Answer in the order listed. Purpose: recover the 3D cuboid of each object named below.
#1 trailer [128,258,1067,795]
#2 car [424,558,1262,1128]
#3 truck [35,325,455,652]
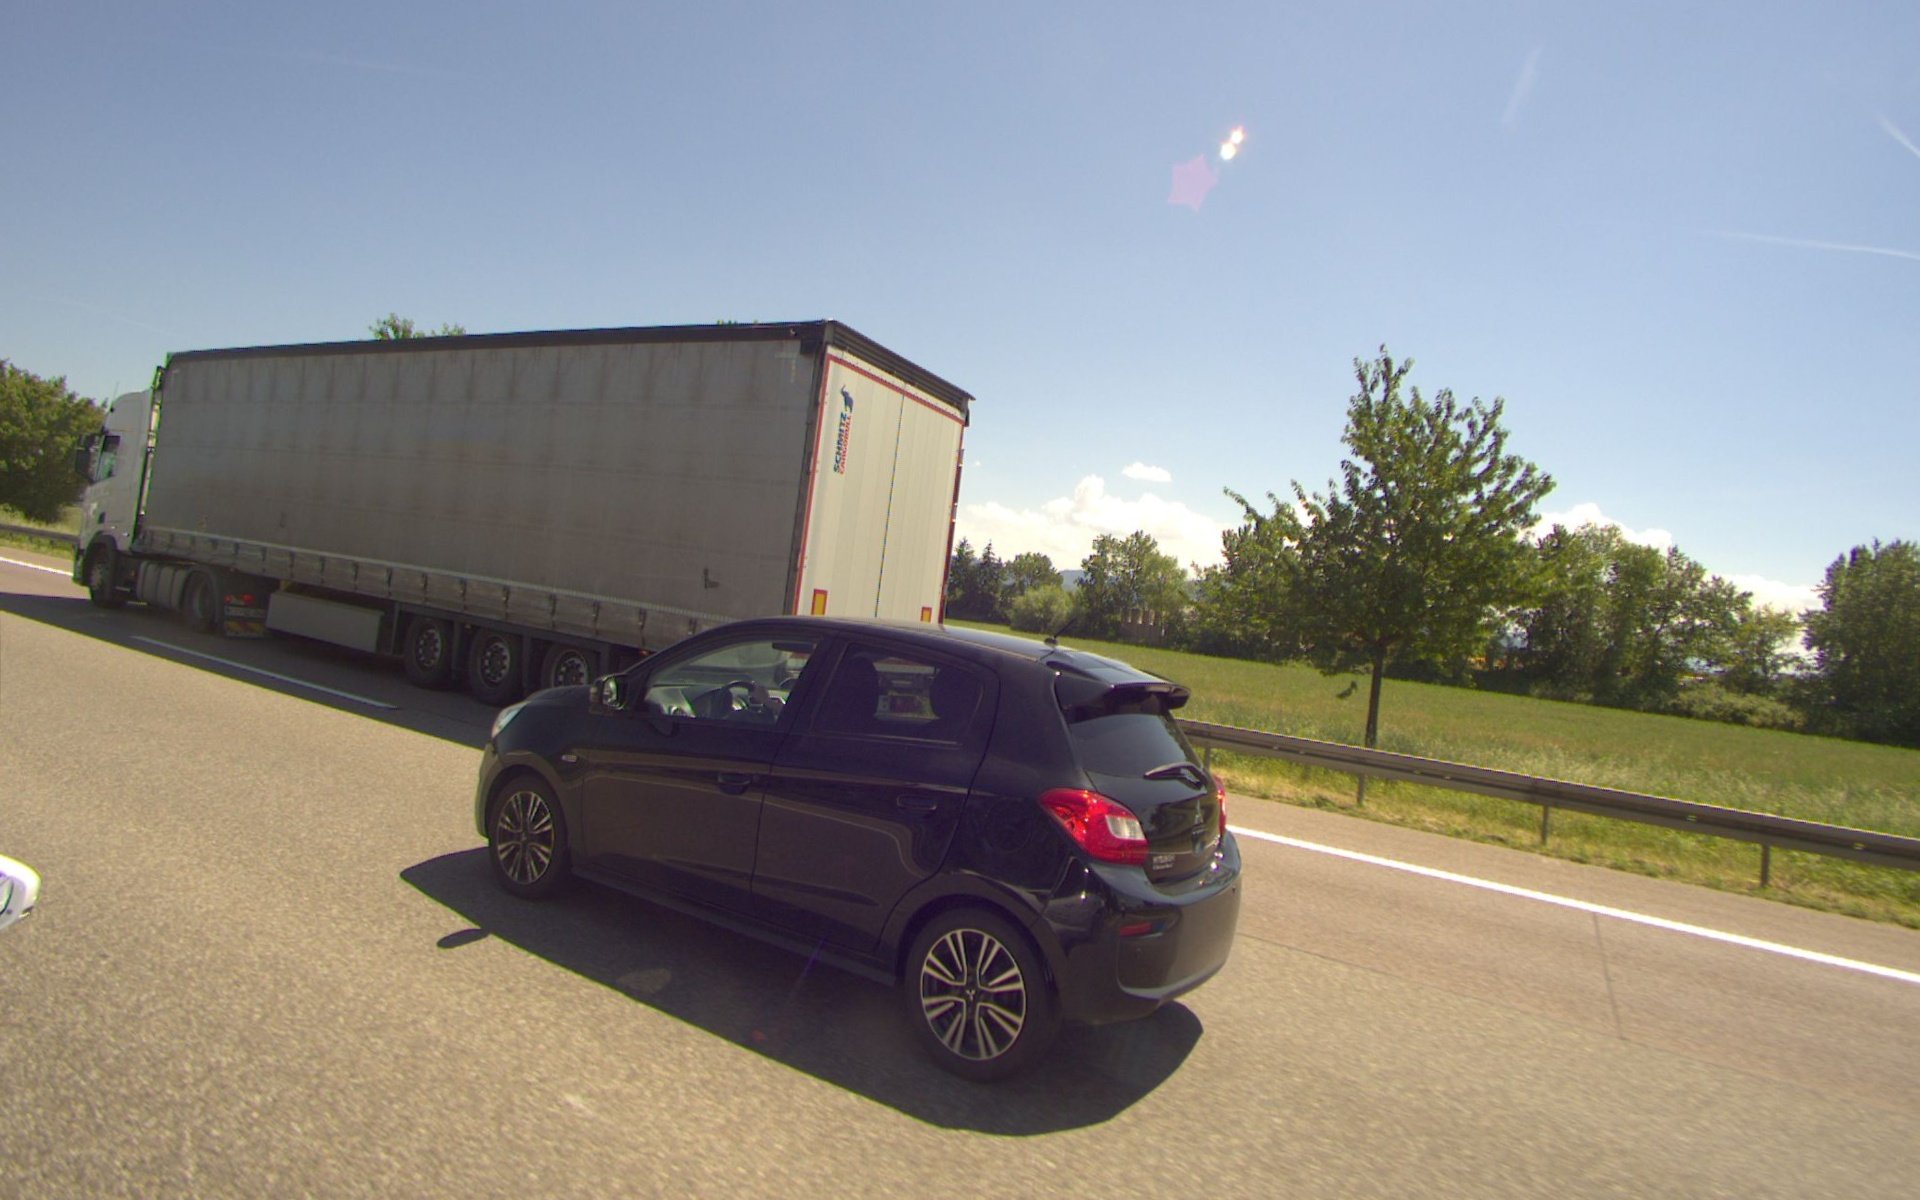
[{"bbox_3d":[-5.794,-1.105,12.962,14.017,4.354,2.815,6,-2,31],"label":"trailer"},{"bbox_3d":[-0.586,0.786,4.647,3.375,1.490,1.691,6,-2,30],"label":"car"},{"bbox_3d":[-12.108,-1.794,16.853,7.074,4.354,2.815,6,-2,32],"label":"truck"}]
